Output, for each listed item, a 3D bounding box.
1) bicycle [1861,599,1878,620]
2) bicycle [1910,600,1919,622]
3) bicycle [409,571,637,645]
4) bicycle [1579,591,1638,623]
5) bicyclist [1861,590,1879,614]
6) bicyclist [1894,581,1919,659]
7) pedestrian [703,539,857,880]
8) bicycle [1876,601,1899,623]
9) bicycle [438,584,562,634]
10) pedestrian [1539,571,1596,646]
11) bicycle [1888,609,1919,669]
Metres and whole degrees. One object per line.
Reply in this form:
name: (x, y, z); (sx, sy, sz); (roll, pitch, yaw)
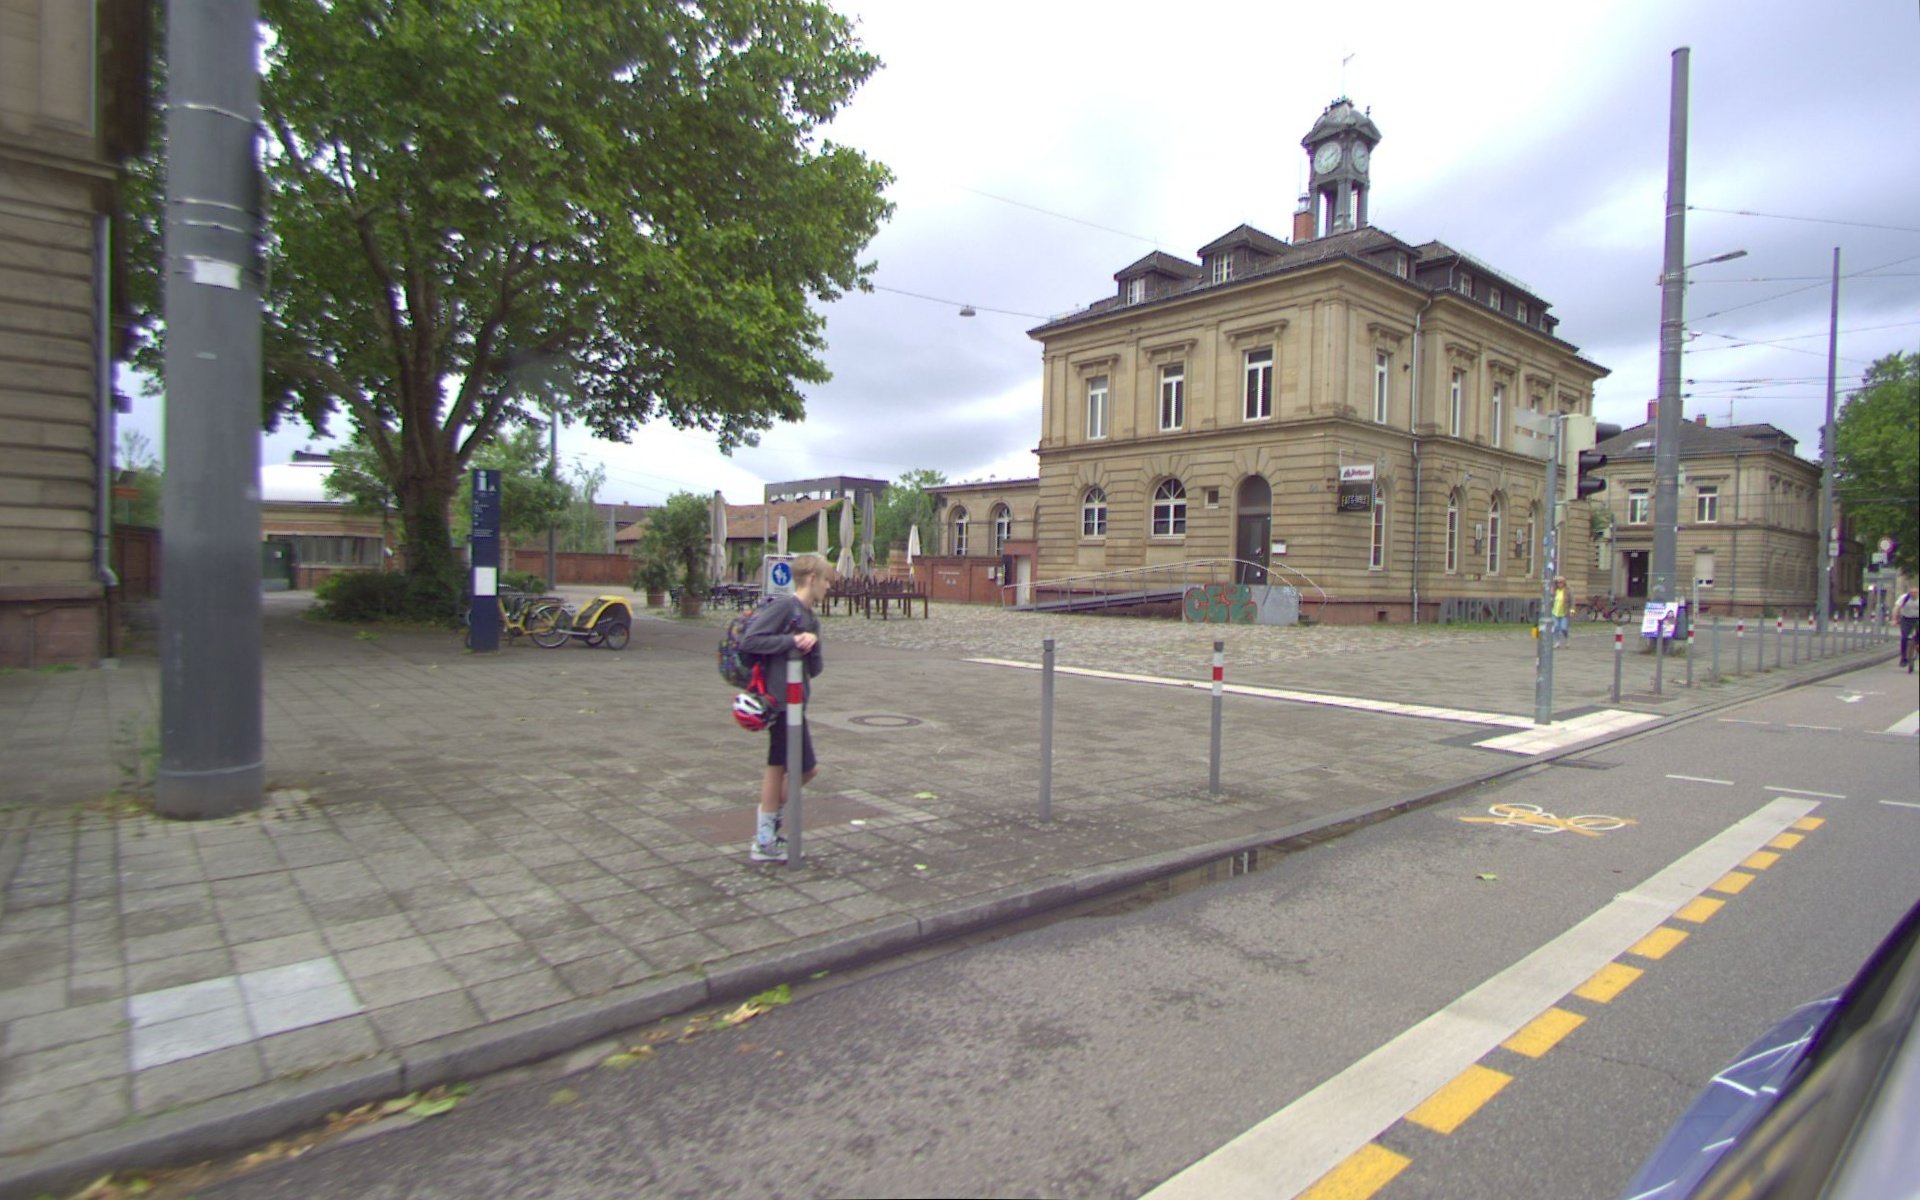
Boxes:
bicycle: (55.146, 0.581, 61.376); (0.674, 1.179, 2.083); (2, 2, 41)
bicycle: (50.041, 0.575, 52.640); (1.670, 1.081, 0.718); (-1, 2, -42)
bicycle: (-7.213, 0.161, 16.915); (3.347, 1.082, 0.902); (3, 0, -42)
bicycle: (25.350, 0.264, 39.590); (1.844, 1.091, 0.541); (5, 4, 33)
bicyclist: (55.190, 0.091, 61.400); (0.691, 1.417, 0.805); (2, 2, 37)
bicyclist: (20.552, 0.416, 21.596); (1.170, 1.620, 0.811); (-1, 2, -43)
pedestrian: (-0.895, 0.489, 4.958); (0.625, 1.547, 0.554); (0, 2, -22)
bicycle: (49.181, 0.633, 53.662); (1.670, 1.081, 0.718); (-1, 2, -42)
bicycle: (-8.725, 0.158, 19.260); (2.045, 0.882, 0.610); (0, 2, -42)
pedestrian: (14.127, 0.176, 23.533); (0.979, 1.699, 0.722); (0, 2, -30)
bicycle: (20.569, 0.819, 21.638); (2.238, 1.184, 0.814); (-1, 2, -42)
